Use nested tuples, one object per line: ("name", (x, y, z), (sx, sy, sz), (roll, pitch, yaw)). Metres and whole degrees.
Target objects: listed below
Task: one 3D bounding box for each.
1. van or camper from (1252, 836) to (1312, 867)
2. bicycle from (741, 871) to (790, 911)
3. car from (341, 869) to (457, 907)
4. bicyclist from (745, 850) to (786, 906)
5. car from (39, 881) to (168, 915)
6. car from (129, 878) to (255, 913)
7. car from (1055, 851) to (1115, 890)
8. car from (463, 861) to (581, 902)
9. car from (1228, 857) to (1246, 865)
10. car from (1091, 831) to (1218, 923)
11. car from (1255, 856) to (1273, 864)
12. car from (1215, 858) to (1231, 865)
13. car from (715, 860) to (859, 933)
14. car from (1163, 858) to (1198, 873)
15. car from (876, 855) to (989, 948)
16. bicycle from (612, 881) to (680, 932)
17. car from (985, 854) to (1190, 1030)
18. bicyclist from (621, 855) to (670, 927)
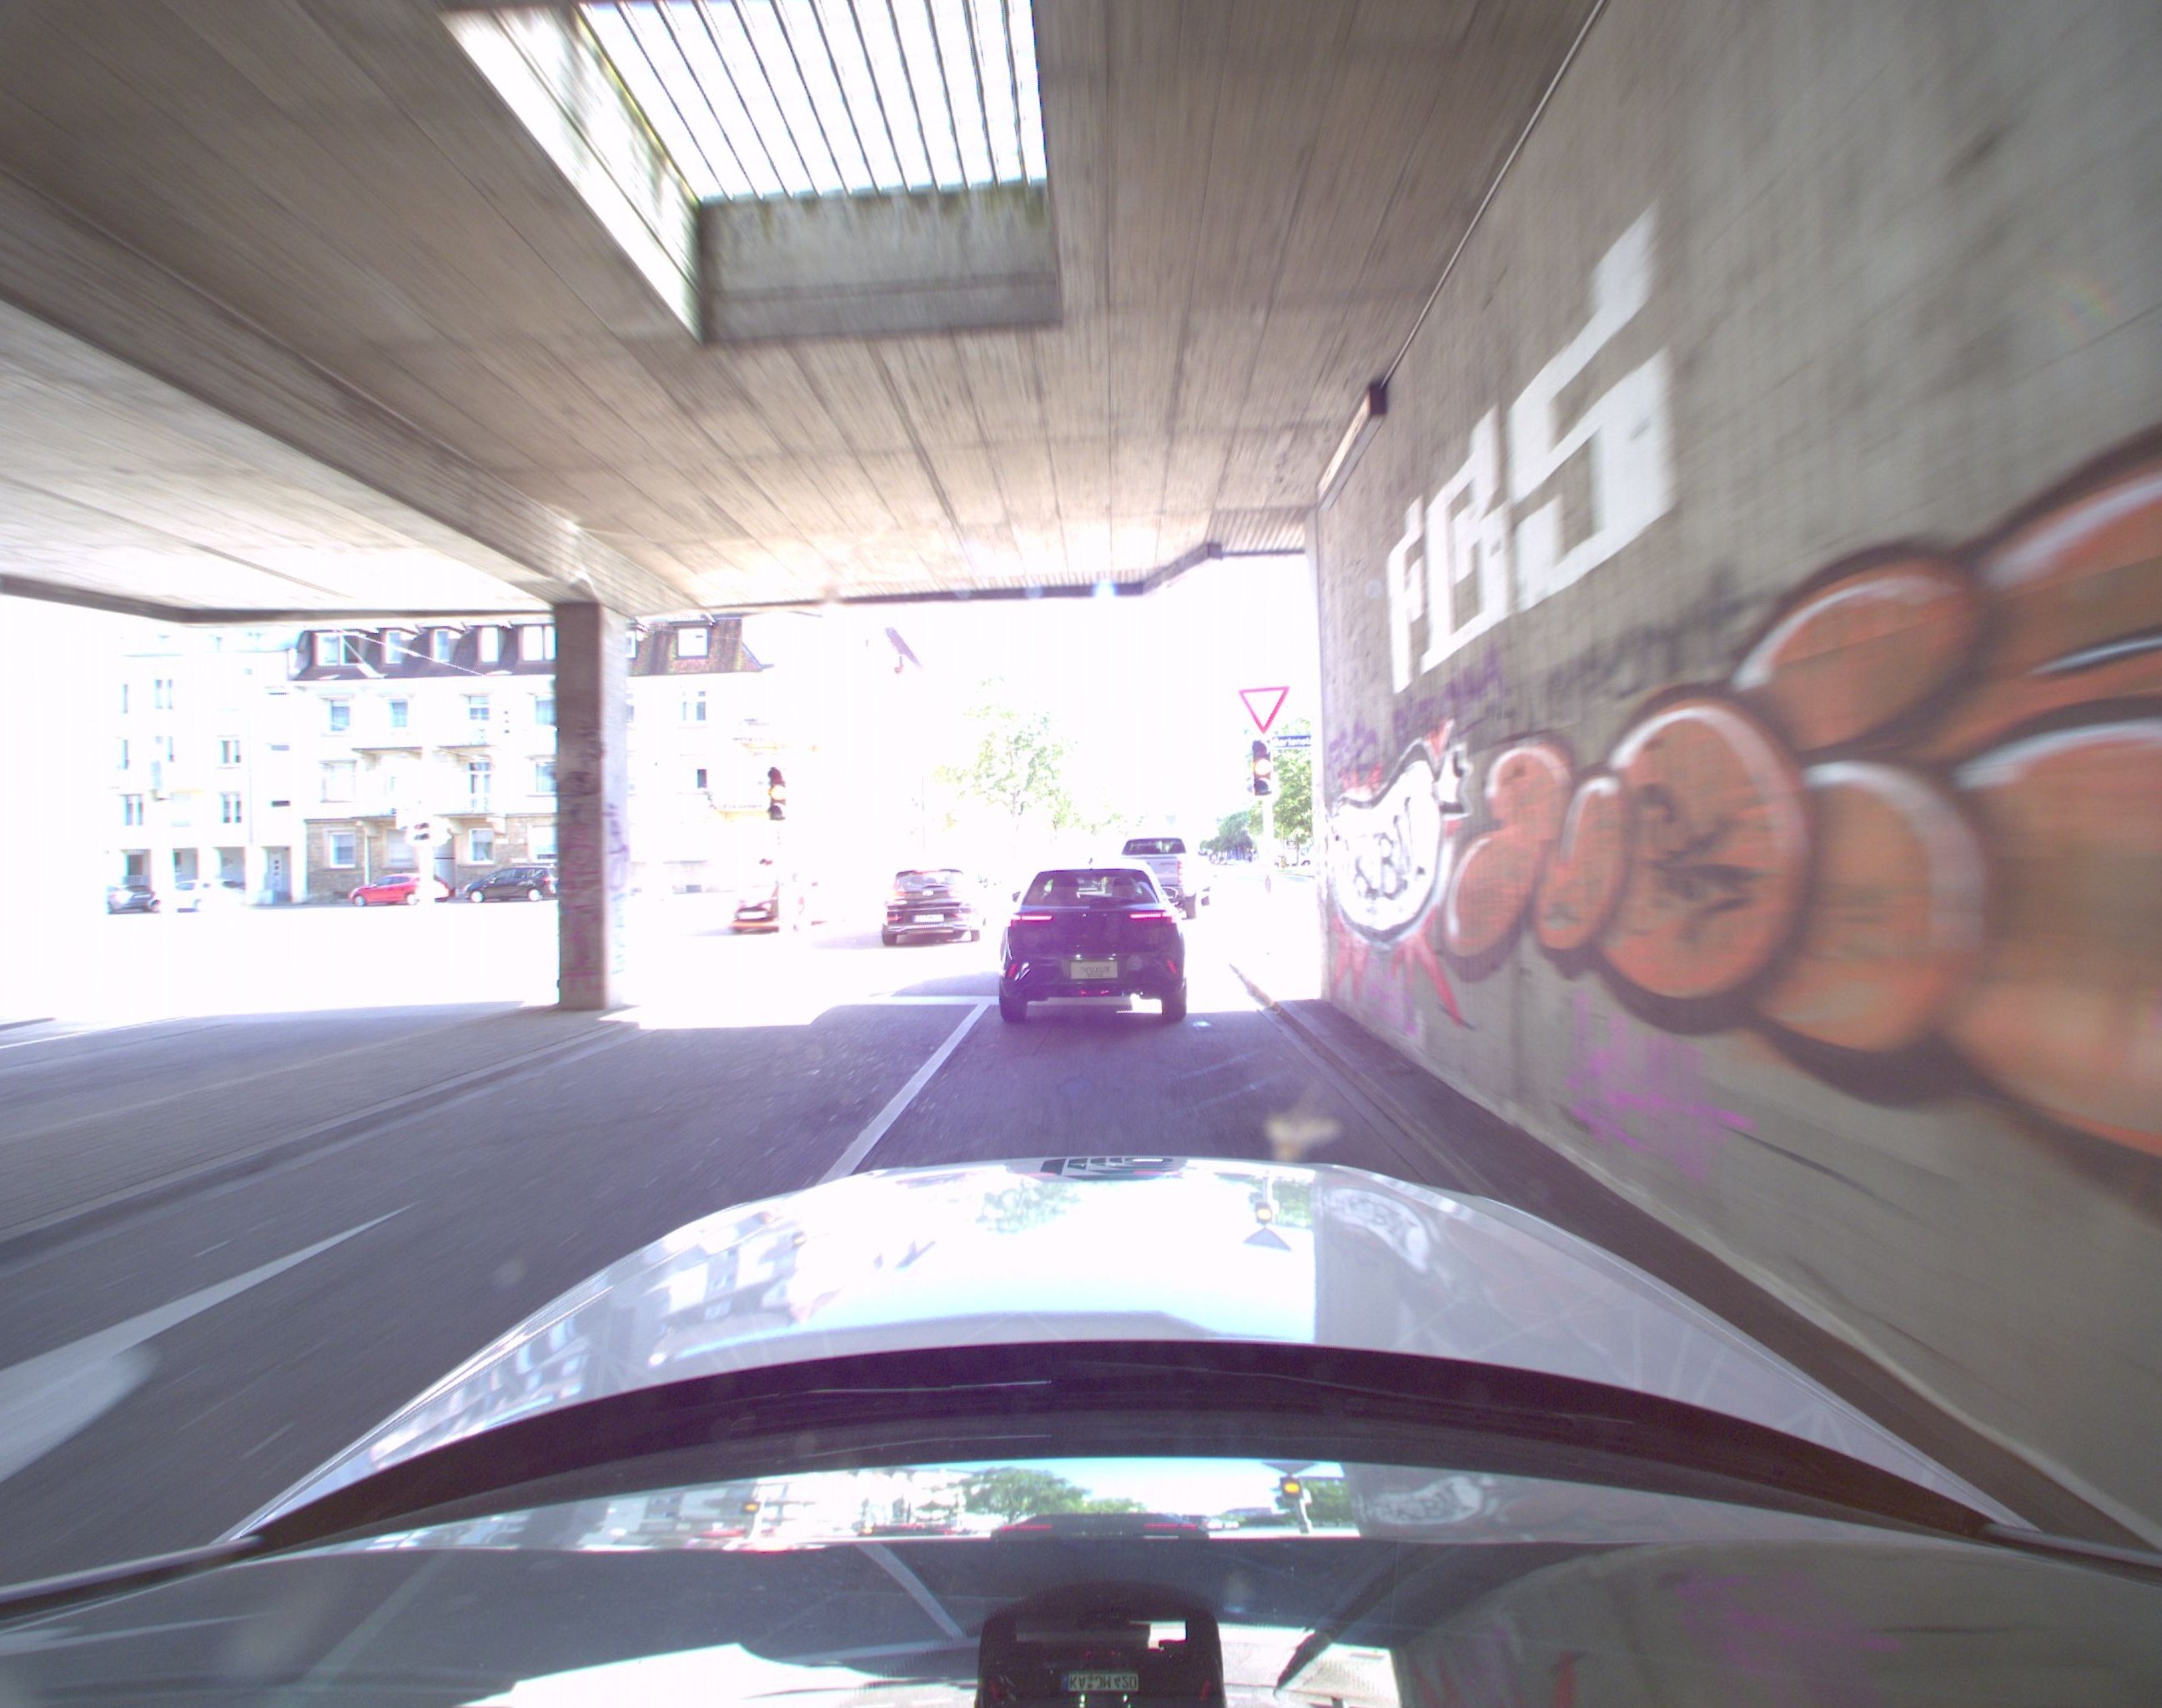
("van or camper", (21.712, -0.241, 88.093), (6.037, 2.929, 2.584), (-4, -1, 12))
("bicycle", (-9.722, 1.116, 25.189), (0.539, 1.123, 2.061), (-2, 0, 4))
("car", (-32.045, 1.577, 38.332), (3.861, 1.540, 1.901), (-2, 1, 3))
("bicyclist", (-9.739, 0.725, 25.152), (0.778, 1.660, 1.032), (-2, 0, 4))
("car", (-46.250, 2.047, 38.589), (3.812, 1.362, 1.967), (-2, 1, 4))
("car", (-41.839, 1.939, 38.409), (3.812, 1.362, 2.002), (-2, 1, 4))
("car", (0.253, 0.647, 34.480), (1.777, 1.513, 4.128), (-2, 0, 11))
("car", (-26.193, 1.281, 38.230), (4.142, 1.724, 1.964), (-2, 1, 3))
("car", (35.407, 1.632, 185.054), (3.929, 1.397, 1.518), (-4, -1, 4))
("car", (1.892, 0.477, 19.175), (2.117, 1.835, 4.960), (-2, 0, 15))
("car", (34.682, 1.218, 154.407), (3.222, 1.277, 1.521), (-4, -1, 12))
("car", (36.439, 1.929, 209.166), (3.929, 1.397, 1.518), (-4, -1, 4))
("car", (-6.604, 0.912, 18.710), (1.648, 1.441, 3.470), (-2, 0, 7))
("car", (15.375, 1.830, 125.660), (4.903, 2.083, 1.971), (-2, -1, -22))
("car", (-2.788, 0.812, 16.136), (1.799, 1.451, 4.317), (-2, 1, -6))
("bicycle", (-10.301, 1.214, 19.355), (0.523, 1.090, 1.861), (-2, 0, 2))
("car", (0.159, 0.777, 9.008), (1.774, 1.517, 3.758), (-1, 0, 3))
("bicyclist", (-10.306, 0.855, 19.291), (0.603, 1.632, 0.910), (-2, 0, 2))
